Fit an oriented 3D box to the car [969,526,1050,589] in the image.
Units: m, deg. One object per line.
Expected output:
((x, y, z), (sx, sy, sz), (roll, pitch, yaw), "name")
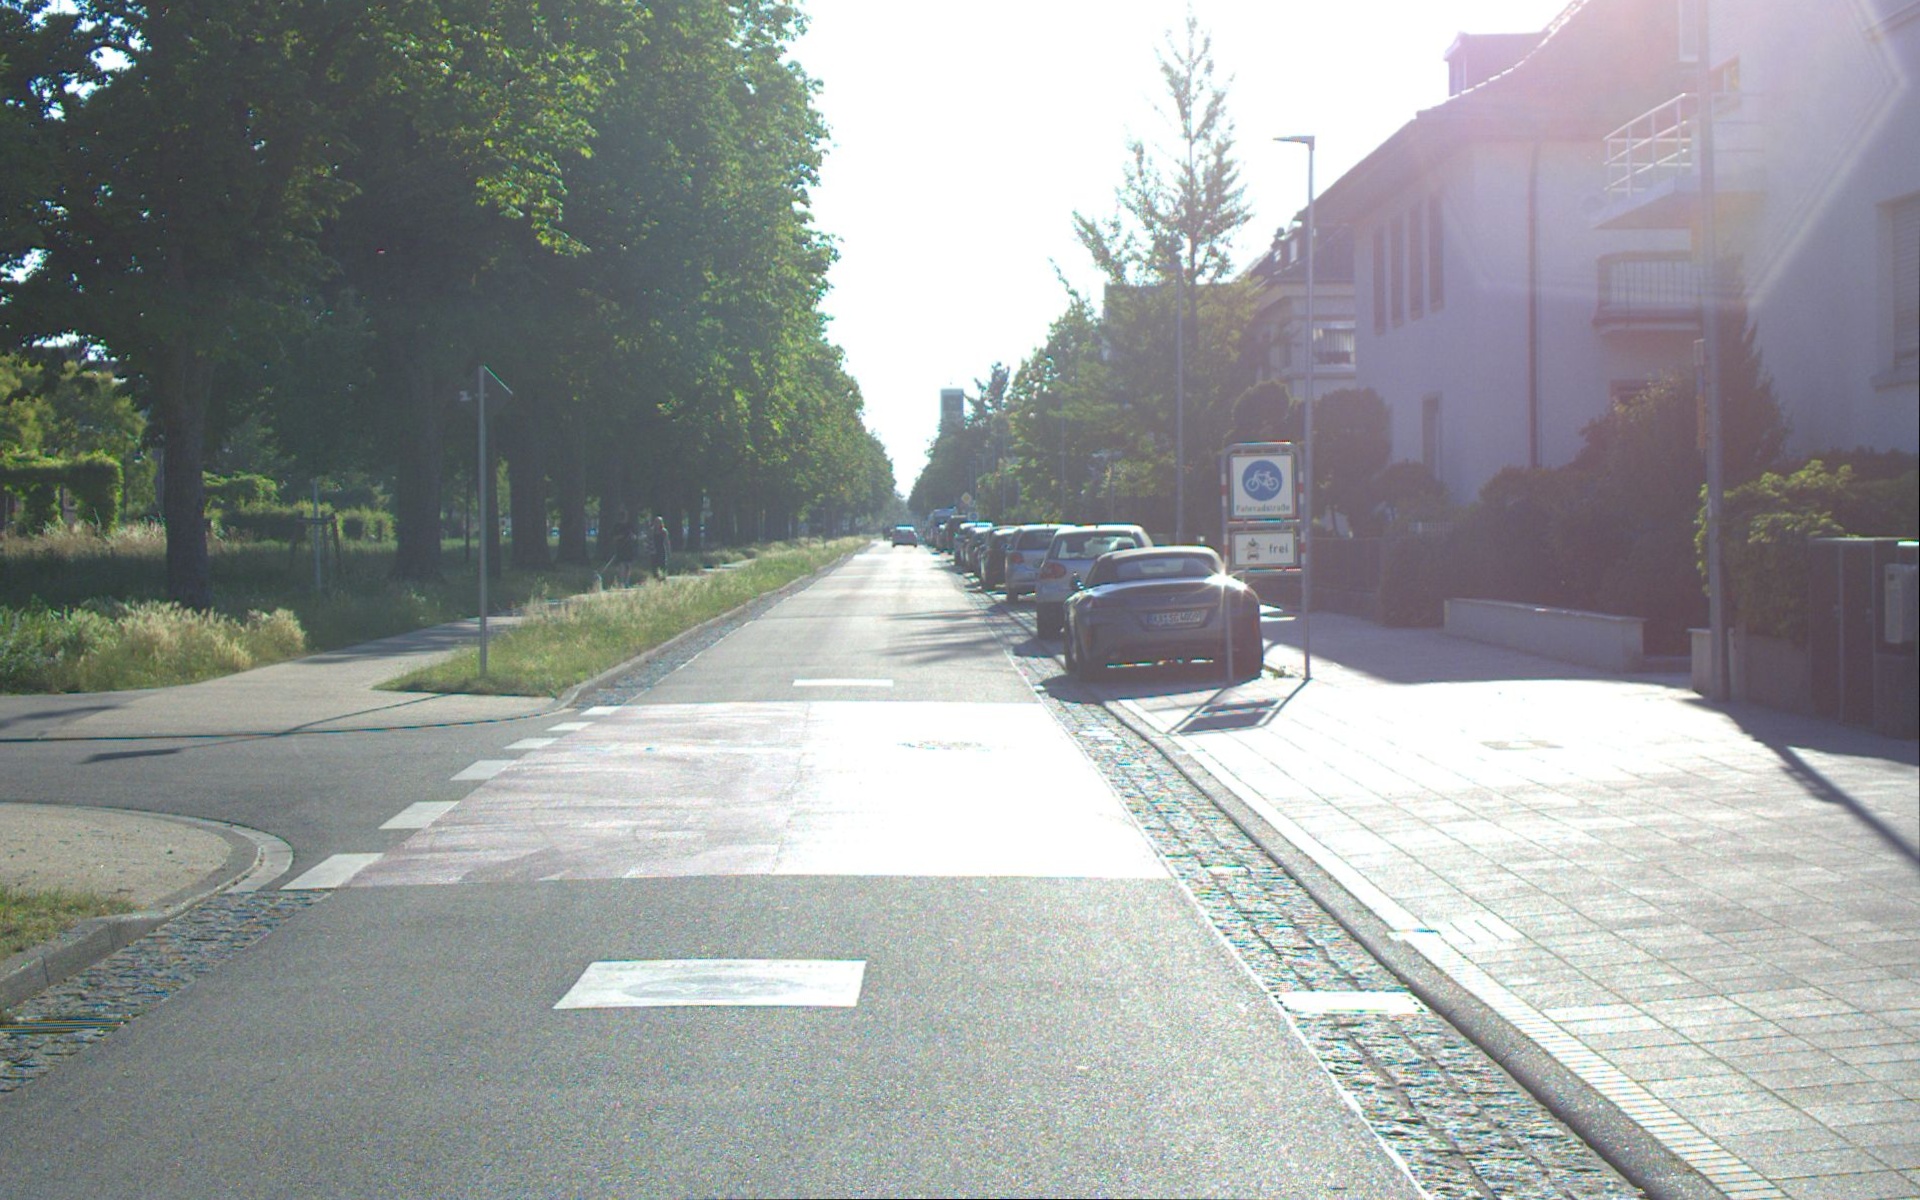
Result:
((1.182, -1.039, 83.575), (1.736, 1.444, 4.197), (-2, 1, -2), "car")

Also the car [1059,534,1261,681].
((2.024, 0.031, 35.887), (1.774, 1.284, 4.273), (-3, 2, 0), "car")

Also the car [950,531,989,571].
((0.382, -1.932, 134.534), (1.498, 1.561, 3.267), (0, 1, 0), "car")

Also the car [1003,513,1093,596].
((1.697, -0.913, 67.162), (1.627, 1.499, 3.633), (-2, 2, 0), "car")

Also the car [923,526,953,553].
((-1.246, -3.475, 197.201), (1.652, 1.536, 3.267), (1, 1, 0), "car")

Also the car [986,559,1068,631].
((1.493, -0.125, 75.847), (1.658, 1.488, 3.716), (-1, 1, 3), "car")

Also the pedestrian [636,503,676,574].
((-6.897, -1.401, 78.021), (0.783, 1.609, 0.952), (0, 1, 3), "pedestrian")

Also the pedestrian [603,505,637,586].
((-7.687, -1.245, 77.751), (0.624, 1.824, 0.886), (0, 1, 3), "pedestrian")

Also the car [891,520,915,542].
((-4.057, -4.954, 245.516), (1.652, 1.536, 3.267), (1, 1, -1), "car")

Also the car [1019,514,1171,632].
((1.810, -0.404, 47.184), (1.744, 1.469, 3.923), (-3, 1, -2), "car")
